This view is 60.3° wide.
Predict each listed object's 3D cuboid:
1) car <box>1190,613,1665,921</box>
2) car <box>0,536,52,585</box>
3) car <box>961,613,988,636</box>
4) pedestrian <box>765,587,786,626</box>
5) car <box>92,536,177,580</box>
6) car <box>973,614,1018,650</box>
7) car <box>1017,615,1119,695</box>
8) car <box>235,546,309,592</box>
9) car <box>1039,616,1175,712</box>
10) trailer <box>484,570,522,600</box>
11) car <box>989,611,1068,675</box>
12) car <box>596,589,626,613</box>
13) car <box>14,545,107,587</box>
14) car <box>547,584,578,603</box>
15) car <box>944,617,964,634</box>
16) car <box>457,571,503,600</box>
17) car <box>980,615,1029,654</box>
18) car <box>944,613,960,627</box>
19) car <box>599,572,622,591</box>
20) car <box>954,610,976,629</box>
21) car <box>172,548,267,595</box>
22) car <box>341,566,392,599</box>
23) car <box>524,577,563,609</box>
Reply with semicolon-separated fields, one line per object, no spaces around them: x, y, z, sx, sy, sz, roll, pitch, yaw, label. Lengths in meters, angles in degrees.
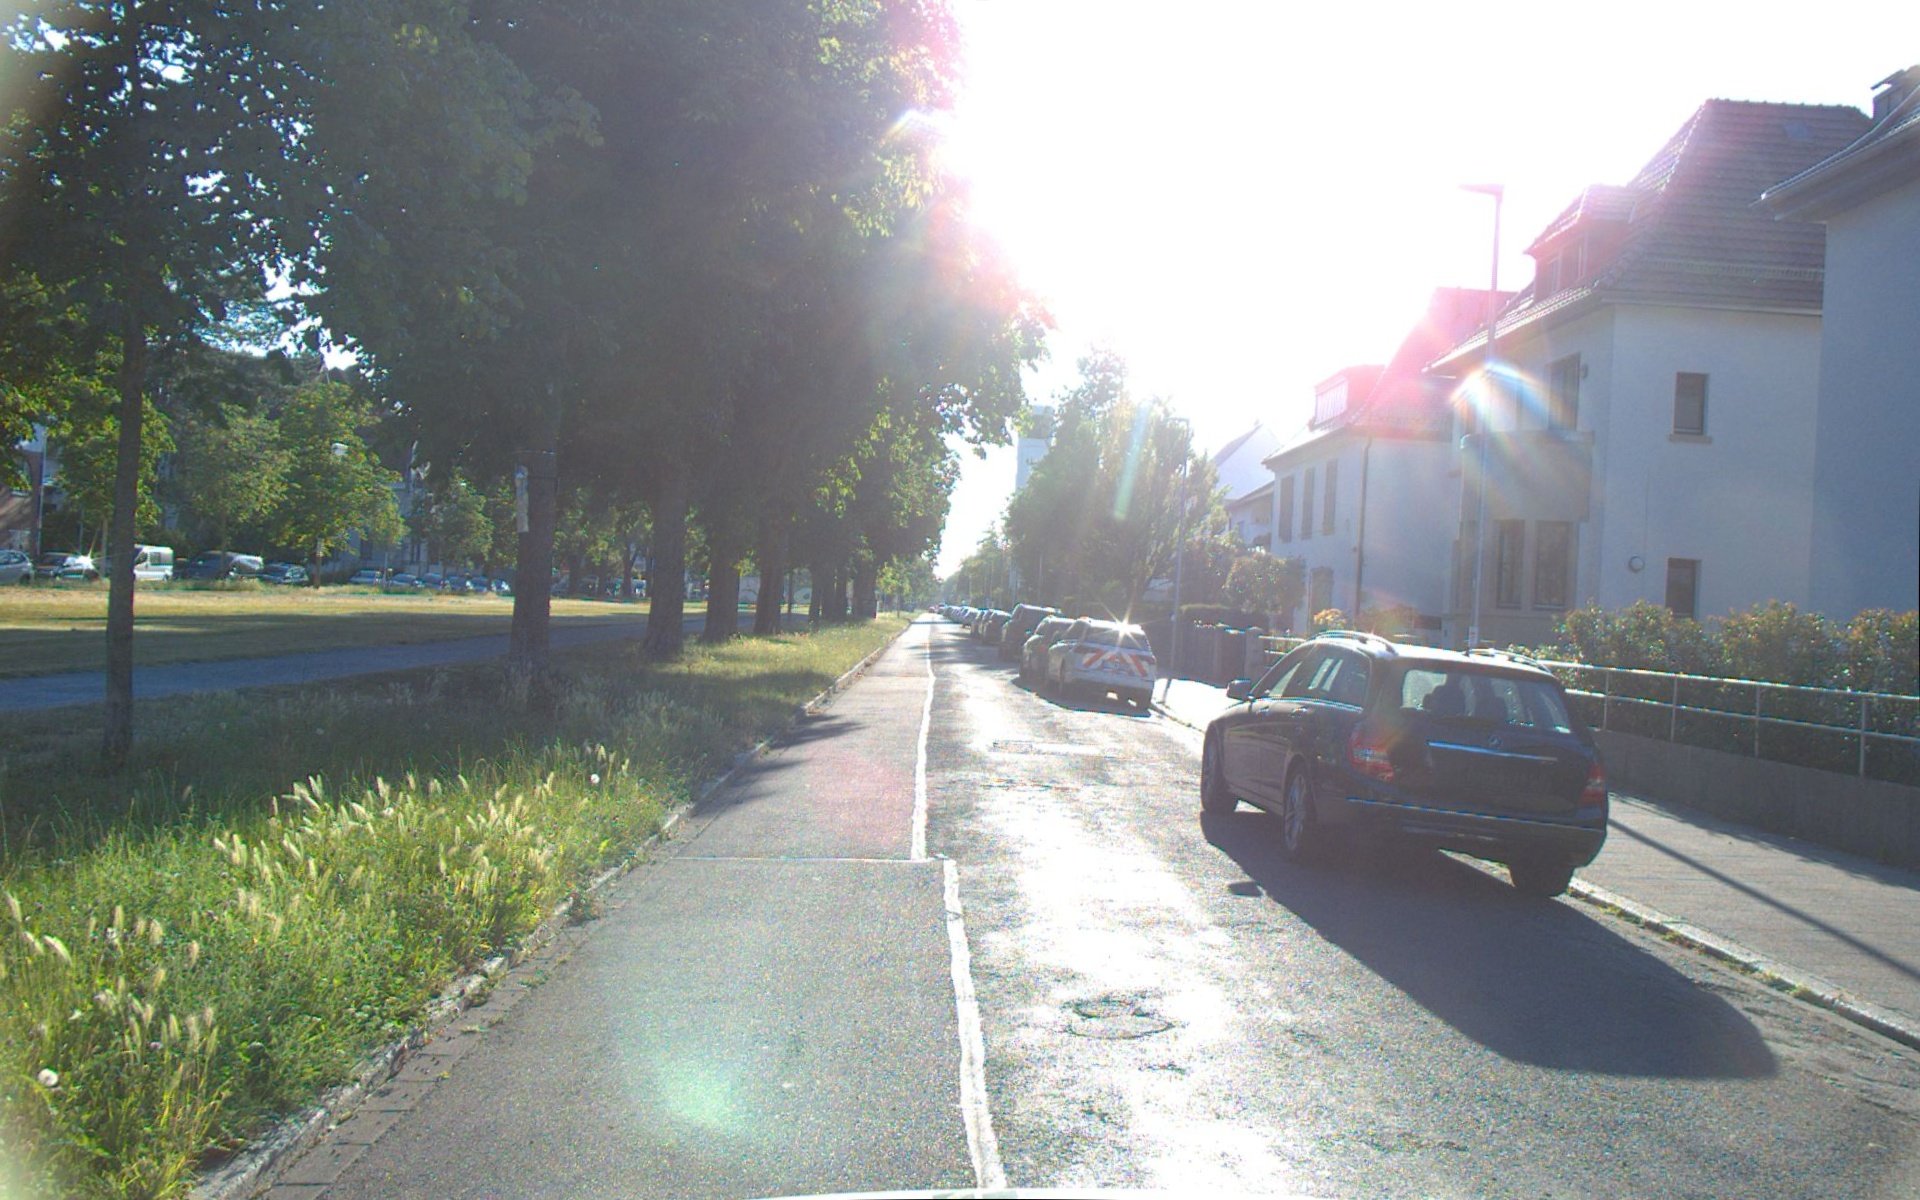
2.926;0.957;11.446;1.745;1.525;4.395;6;-1;-3;car
-34.097;-1.450;58.149;1.783;1.668;4.649;4;0;-1;car
1.057;1.833;123.872;1.723;1.443;4.071;10;-1;0;car
-8.870;0.320;79.647;0.709;1.788;0.993;4;0;5;pedestrian
-39.885;-1.990;80.023;1.780;1.869;4.407;4;-1;0;car
1.729;1.567;81.733;1.659;1.508;3.925;8;-1;-5;car
2.380;1.186;37.483;1.745;1.488;4.592;7;-1;-1;car
-34.869;-1.564;83.978;1.953;2.048;3.999;5;-1;-1;car
2.730;1.163;31.765;1.954;1.489;4.548;5;0;-2;car
-41.278;-1.351;149.521;1.953;2.470;4.723;4;-1;-1;trailer
2.078;1.297;51.520;1.954;1.767;4.861;4;-1;-2;car
-36.154;0.160;171.473;1.953;2.289;5.185;4;-1;-1;car
-40.266;-1.503;74.180;1.721;1.651;4.304;4;-1;0;car
-35.988;-0.590;149.919;1.650;1.587;4.314;4;-1;0;car
-0.633;2.586;167.887;1.723;1.633;4.357;4;-1;-2;car
-35.298;-1.038;121.650;1.953;1.892;4.255;4;-1;0;car
1.869;1.469;71.005;1.757;1.518;4.672;4;-1;-2;car
-1.046;2.653;214.715;1.953;1.658;4.000;4;-1;0;car
-43.000;-2.237;203.781;1.953;2.049;4.482;1;-2;-1;car
0.424;1.718;147.095;1.723;1.633;4.357;4;-1;-2;car
-34.382;-1.299;76.978;1.953;1.974;5.245;4;0;0;car
-40.654;-1.190;113.330;1.990;2.049;3.999;2;-1;0;car
-41.772;-0.662;166.020;2.388;2.973;5.816;2;-1;-1;car
